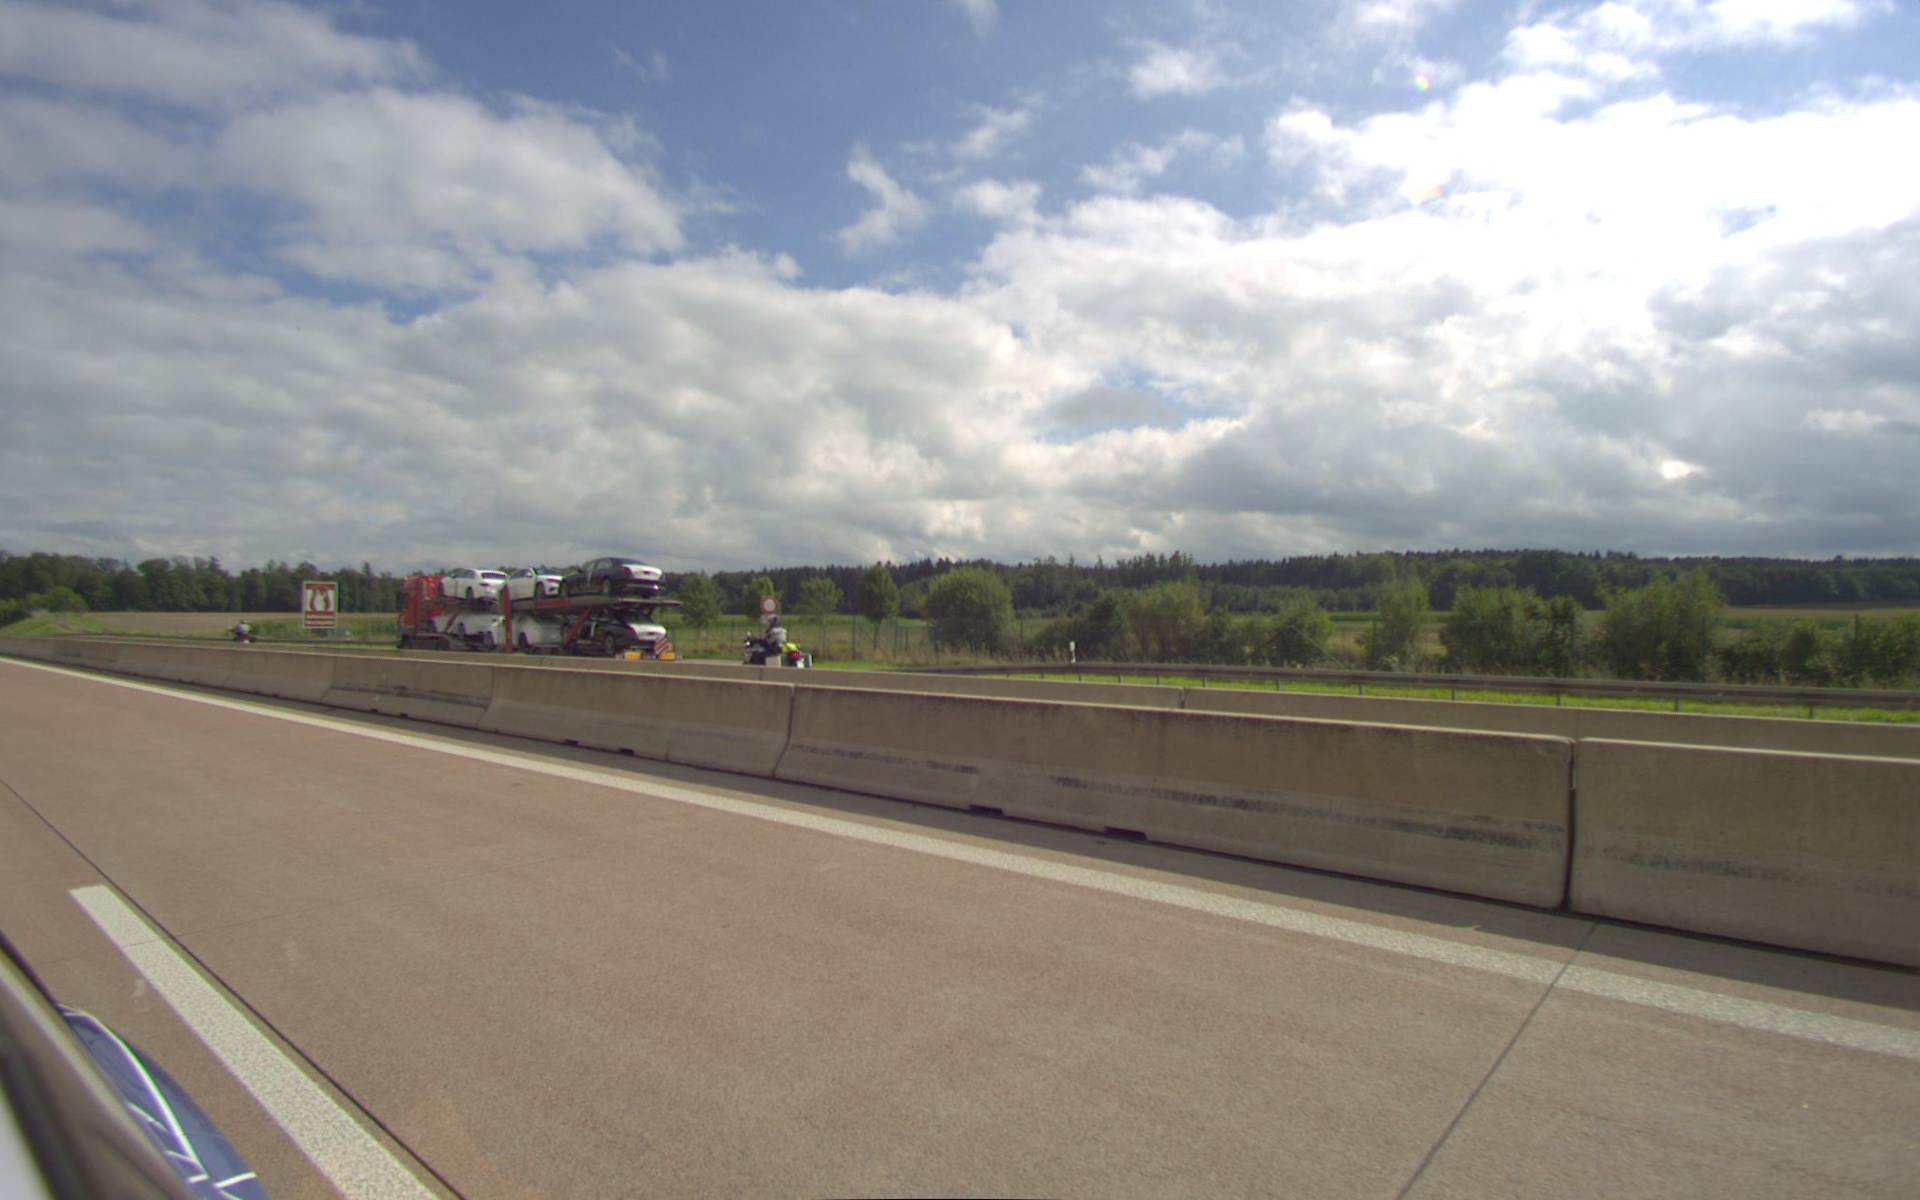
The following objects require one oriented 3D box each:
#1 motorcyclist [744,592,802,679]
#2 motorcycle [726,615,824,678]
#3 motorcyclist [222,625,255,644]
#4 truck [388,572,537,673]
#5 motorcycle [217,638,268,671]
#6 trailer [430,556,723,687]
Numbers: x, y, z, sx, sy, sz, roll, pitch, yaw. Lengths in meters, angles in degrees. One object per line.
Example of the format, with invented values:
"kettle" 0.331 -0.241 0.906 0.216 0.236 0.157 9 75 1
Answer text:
"motorcyclist" -4.191 0.780 22.673 0.744 1.875 0.998 -1 0 43
"motorcycle" -4.162 1.018 22.642 2.341 1.313 0.917 -1 0 42
"motorcyclist" -36.698 1.743 51.479 0.839 0.956 1.173 -1 0 41
"truck" -21.772 0.941 44.058 7.728 4.008 3.160 -1 0 42
"motorcycle" -36.453 2.737 51.384 2.840 1.554 1.537 -1 0 42
"trailer" -14.958 0.786 37.825 16.321 4.008 3.160 -1 0 42
